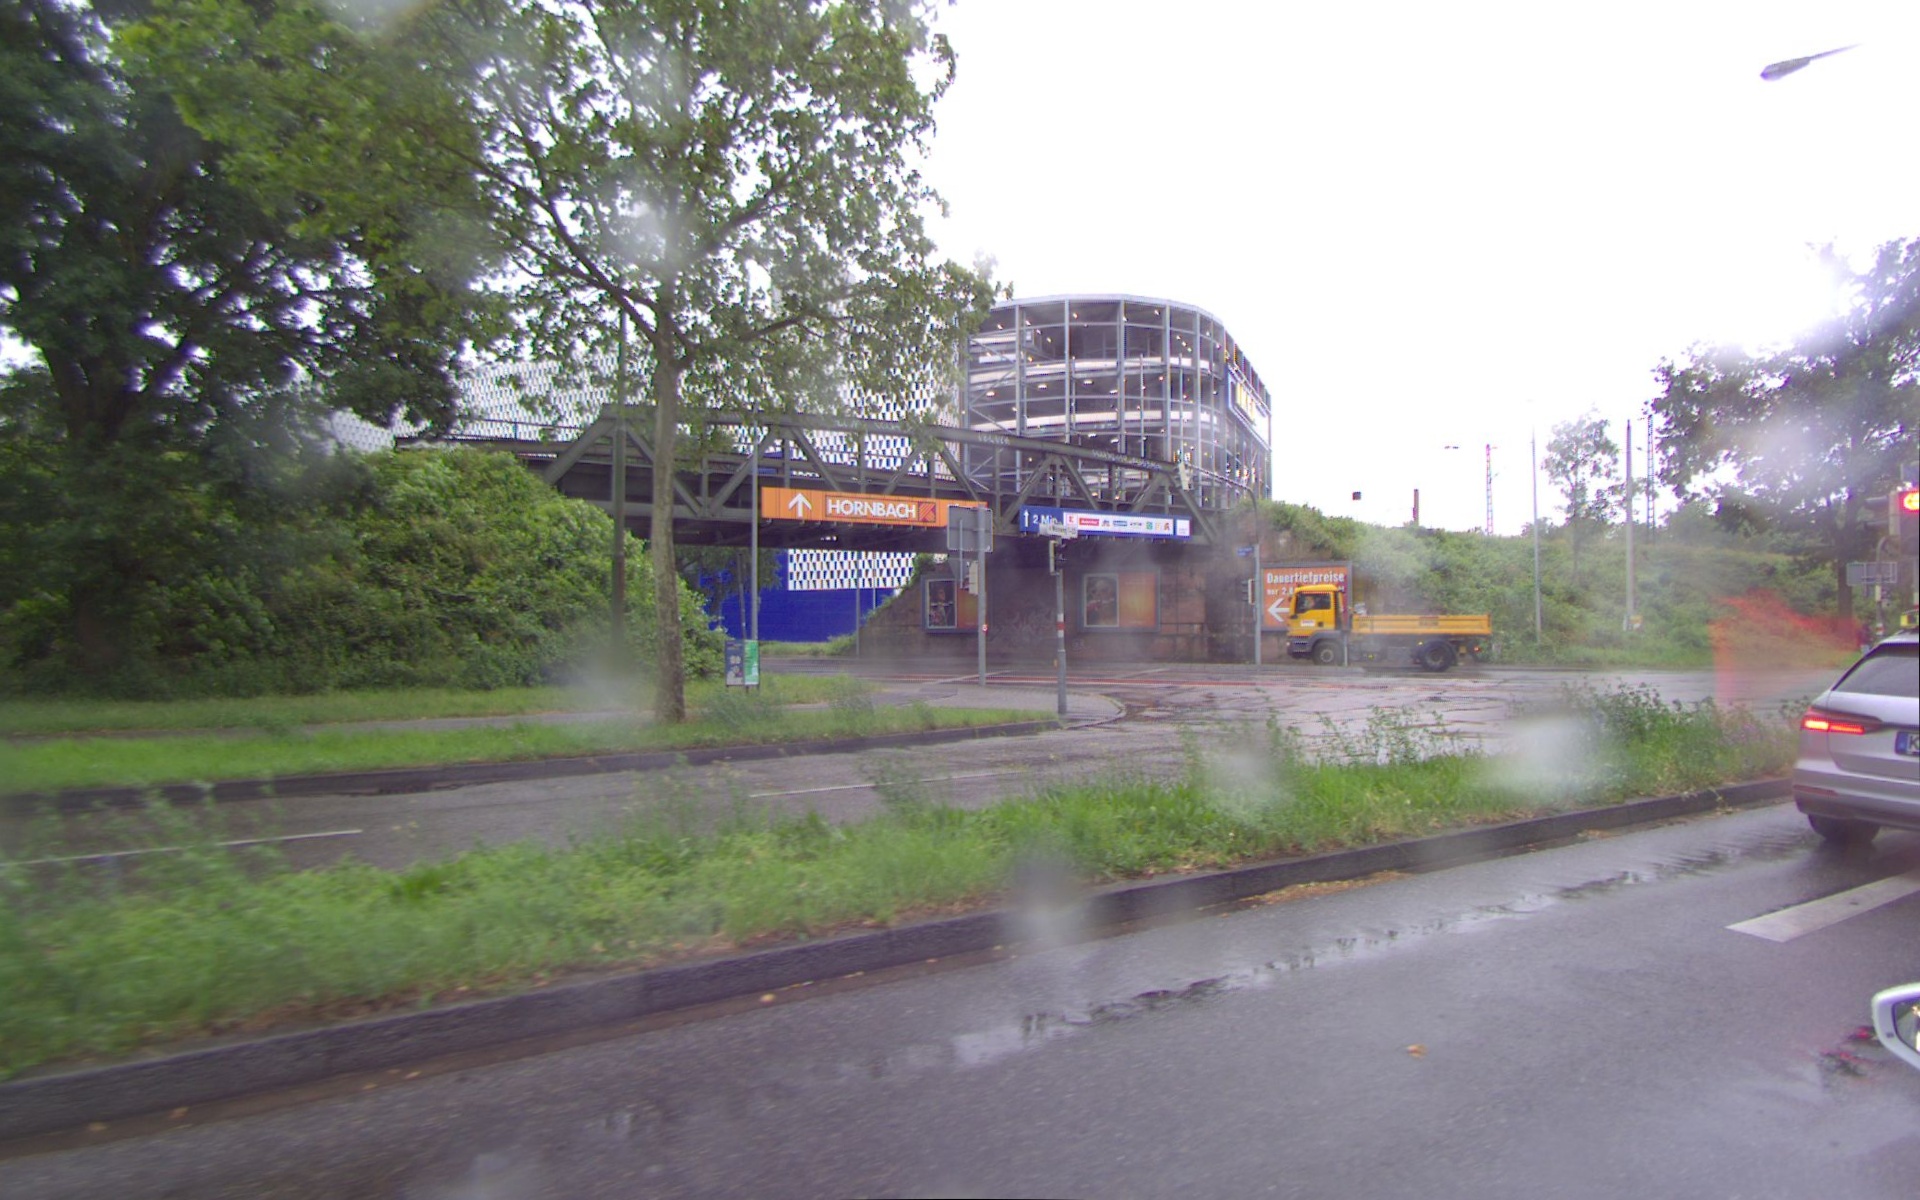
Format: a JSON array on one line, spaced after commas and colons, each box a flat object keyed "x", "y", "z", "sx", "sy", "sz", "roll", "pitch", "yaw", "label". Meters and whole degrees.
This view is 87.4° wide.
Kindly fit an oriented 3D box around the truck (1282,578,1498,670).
[{"x": 15.419, "y": 0.884, "z": 36.388, "sx": 6.914, "sy": 3.094, "sz": 2.646, "roll": 0, "pitch": -2, "yaw": 23, "label": "truck"}]

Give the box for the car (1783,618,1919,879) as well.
[{"x": 7.408, "y": 0.874, "z": 6.579, "sx": 4.521, "sy": 1.452, "sz": 1.682, "roll": 1, "pitch": -1, "yaw": -30, "label": "car"}]

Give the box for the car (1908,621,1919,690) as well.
[{"x": 23.052, "y": 1.203, "z": 21.190, "sx": 3.988, "sy": 1.541, "sz": 1.998, "roll": -1, "pitch": -2, "yaw": 27, "label": "car"}]

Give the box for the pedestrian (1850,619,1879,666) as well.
[{"x": 35.442, "y": 1.657, "z": 39.360, "sx": 0.661, "sy": 1.809, "sz": 0.533, "roll": 2, "pitch": 0, "yaw": -12, "label": "pedestrian"}]
